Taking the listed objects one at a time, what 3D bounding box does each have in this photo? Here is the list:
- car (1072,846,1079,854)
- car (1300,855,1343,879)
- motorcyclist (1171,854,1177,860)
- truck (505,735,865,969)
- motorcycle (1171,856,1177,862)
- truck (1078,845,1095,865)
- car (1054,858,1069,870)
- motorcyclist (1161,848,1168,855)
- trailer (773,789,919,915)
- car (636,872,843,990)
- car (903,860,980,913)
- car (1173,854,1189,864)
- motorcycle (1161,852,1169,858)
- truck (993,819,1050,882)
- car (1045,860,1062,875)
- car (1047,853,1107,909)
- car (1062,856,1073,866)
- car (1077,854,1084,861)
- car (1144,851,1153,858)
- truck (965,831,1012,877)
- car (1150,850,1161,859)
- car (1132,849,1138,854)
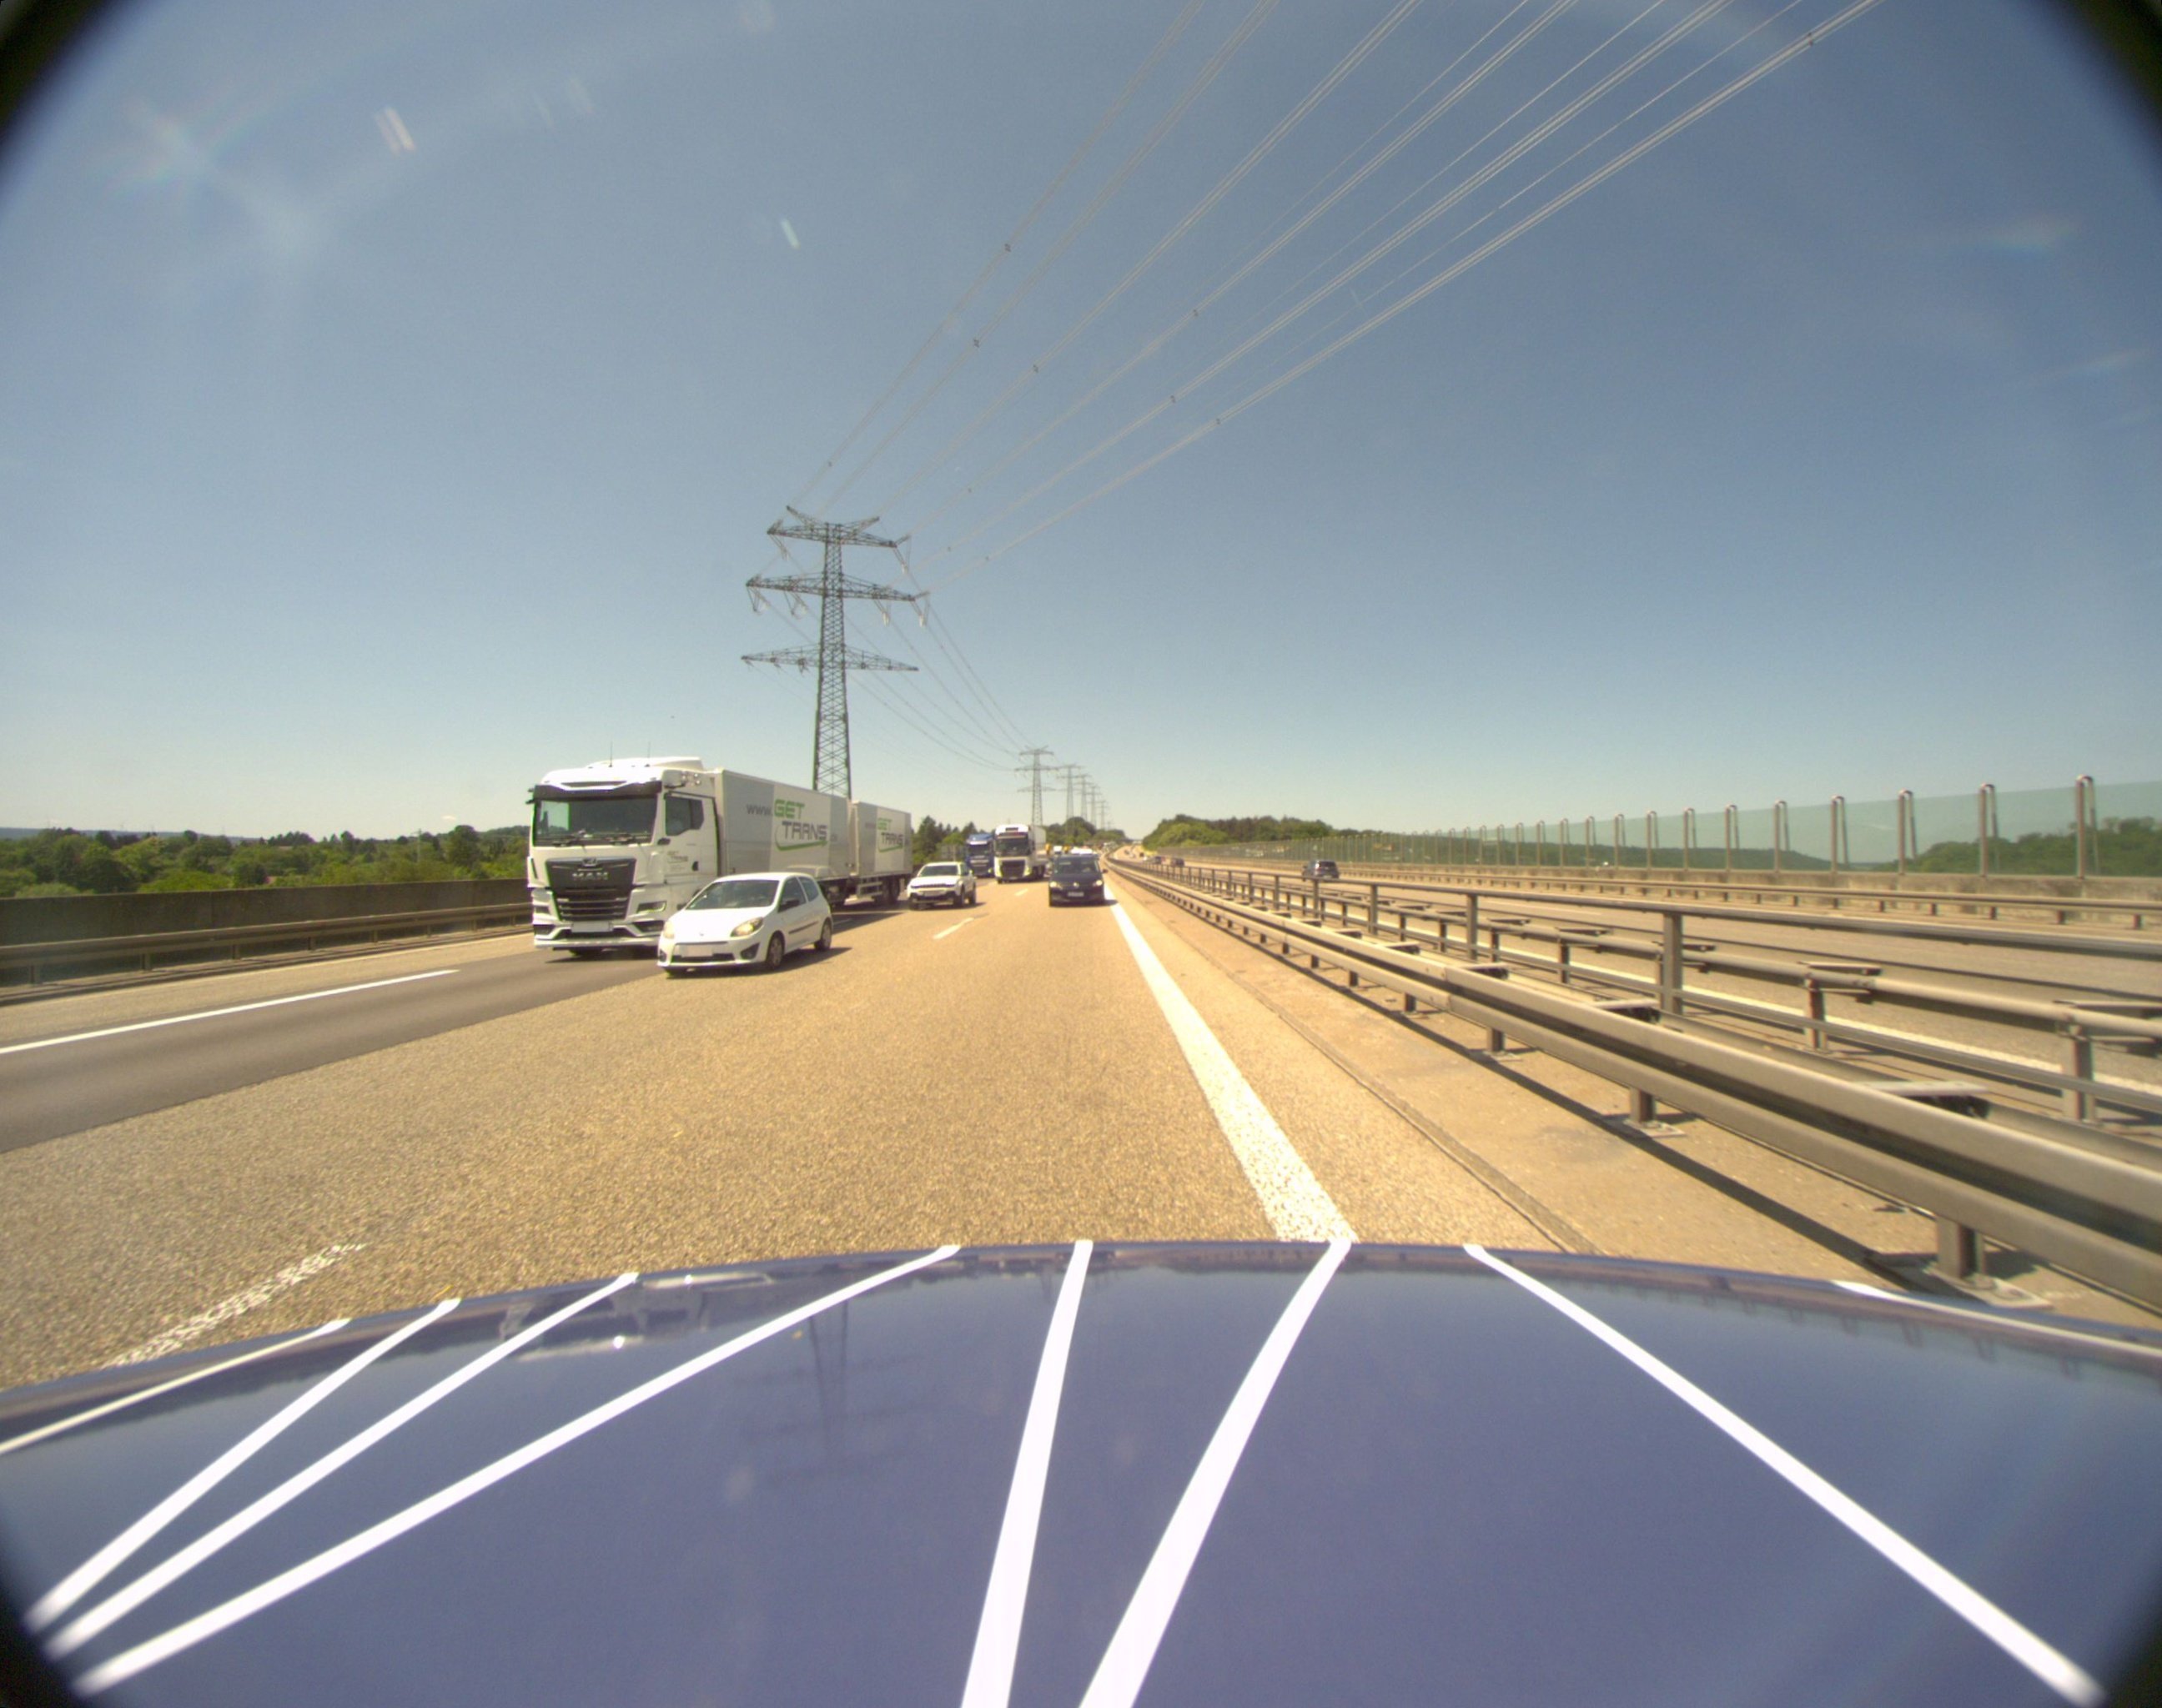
[{"bbox_3d":[-1.640,-1.183,217.934,1.998,2.002,3.999,-3,1,0],"label":"car"},{"bbox_3d":[15.605,0.822,49.460,1.656,1.454,3.542,0,1,1],"label":"car"},{"bbox_3d":[19.236,0.653,157.328,0.921,1.276,1.286,-3,1,0],"label":"motorcyclist"},{"bbox_3d":[-8.394,-0.042,18.678,2.695,3.907,11.296,-3,0,0],"label":"truck"},{"bbox_3d":[19.268,0.994,157.613,0.792,1.065,2.650,0,1,0],"label":"motorcycle"},{"bbox_3d":[0.793,0.159,112.048,2.309,2.789,5.109,-3,1,1],"label":"truck"},{"bbox_3d":[-2.764,1.387,108.253,1.821,1.569,3.999,-2,1,0],"label":"car"},{"bbox_3d":[20.394,-0.518,185.695,1.379,1.675,1.133,-3,1,-1],"label":"motorcyclist"},{"bbox_3d":[-8.358,-0.071,28.234,2.752,3.918,7.773,-3,0,0],"label":"trailer"},{"bbox_3d":[-5.373,1.124,12.542,1.660,1.501,3.825,-3,0,0],"label":"car"},{"bbox_3d":[-4.668,1.049,25.955,1.776,1.521,3.851,-3,1,1],"label":"car"},{"bbox_3d":[14.136,0.647,107.769,1.765,1.312,4.270,1,1,0],"label":"car"},{"bbox_3d":[20.447,0.155,185.797,1.490,1.468,3.382,-1,1,-1],"label":"motorcycle"},{"bbox_3d":[-4.187,-0.247,57.150,2.717,4.015,14.256,-3,0,1],"label":"truck"},{"bbox_3d":[-3.304,1.596,92.200,1.821,1.569,3.999,-2,1,0],"label":"car"},{"bbox_3d":[-0.084,0.824,24.992,1.748,1.569,4.000,-3,1,1],"label":"car"},{"bbox_3d":[-2.270,1.125,128.773,1.821,1.569,3.999,-2,1,0],"label":"car"},{"bbox_3d":[-0.066,0.848,197.304,1.821,1.569,3.999,-2,1,0],"label":"car"},{"bbox_3d":[15.868,0.174,178.188,1.735,1.481,4.124,-3,1,0],"label":"car"},{"bbox_3d":[-8.415,-0.069,70.836,2.841,3.858,11.272,-3,1,0],"label":"truck"},{"bbox_3d":[14.293,0.107,146.232,1.786,1.692,4.154,0,1,0],"label":"car"},{"bbox_3d":[18.950,-0.769,265.968,1.820,1.645,3.999,-3,1,0],"label":"car"}]
